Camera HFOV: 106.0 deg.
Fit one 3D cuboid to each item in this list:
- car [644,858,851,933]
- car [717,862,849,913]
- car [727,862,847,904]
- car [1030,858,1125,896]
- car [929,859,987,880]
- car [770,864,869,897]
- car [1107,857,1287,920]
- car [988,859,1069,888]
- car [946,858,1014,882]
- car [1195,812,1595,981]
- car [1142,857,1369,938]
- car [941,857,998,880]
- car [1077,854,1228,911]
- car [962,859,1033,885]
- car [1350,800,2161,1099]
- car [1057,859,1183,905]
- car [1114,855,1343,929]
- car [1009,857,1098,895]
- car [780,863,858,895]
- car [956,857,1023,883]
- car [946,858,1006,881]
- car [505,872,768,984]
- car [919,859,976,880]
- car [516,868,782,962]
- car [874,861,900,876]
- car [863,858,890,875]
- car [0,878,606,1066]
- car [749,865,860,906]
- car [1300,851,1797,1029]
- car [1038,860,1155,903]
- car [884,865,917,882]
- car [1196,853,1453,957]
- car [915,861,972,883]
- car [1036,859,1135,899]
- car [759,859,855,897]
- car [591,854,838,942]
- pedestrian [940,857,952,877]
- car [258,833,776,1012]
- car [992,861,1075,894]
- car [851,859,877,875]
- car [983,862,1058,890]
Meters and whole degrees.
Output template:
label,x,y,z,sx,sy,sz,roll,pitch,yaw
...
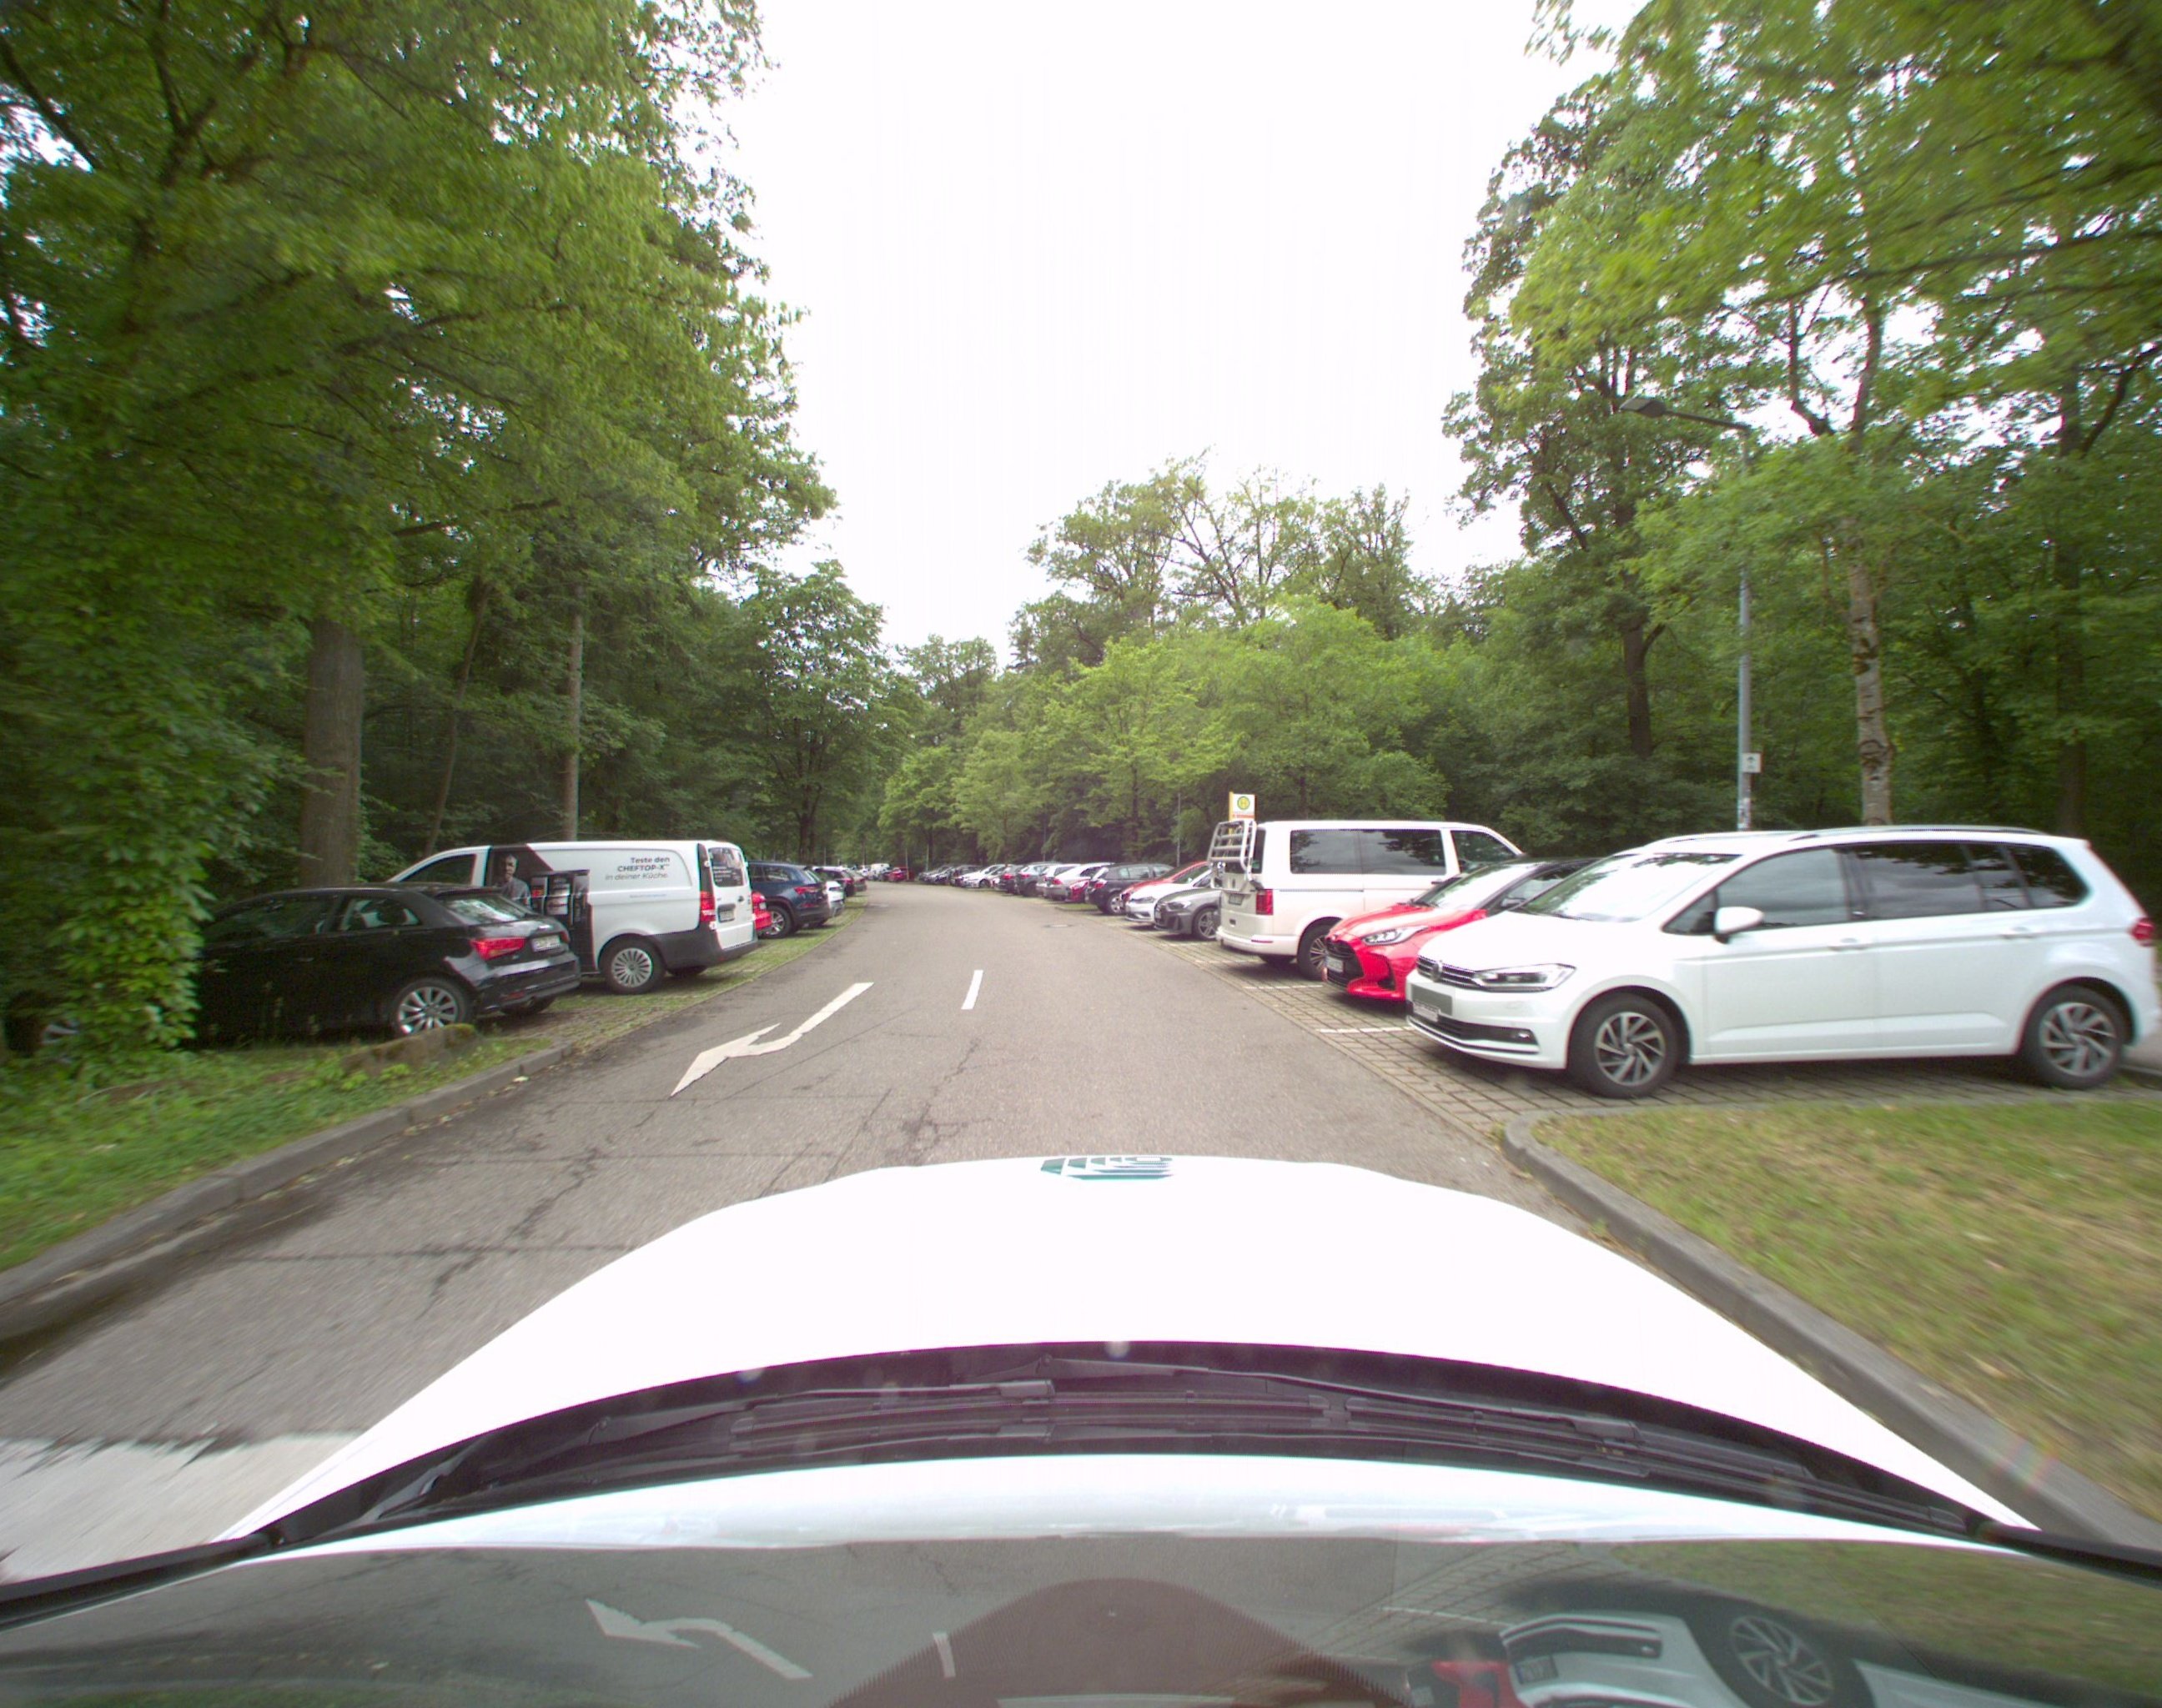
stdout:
label,x,y,z,sx,sy,sz,roll,pitch,yaw
car,-8.084,0.970,20.176,4.356,1.598,2.024,-1,0,-10
car,-9.994,1.095,27.589,3.994,1.491,1.699,-2,0,-15
car,-11.337,1.097,31.674,4.240,1.473,1.711,-1,-1,-15
car,-0.168,0.988,35.595,3.852,1.546,1.720,-1,0,-17
car,-9.390,1.173,62.018,4.002,1.475,1.938,-1,0,-22
car,-13.286,1.330,41.583,4.652,1.478,2.082,-2,0,-18
car,2.934,0.844,21.072,4.230,1.480,1.912,-1,-1,-11
car,-2.795,0.995,43.030,3.943,1.411,1.867,-1,0,-18
car,-6.809,1.079,54.913,4.205,1.512,1.879,-1,0,-23
car,4.091,0.526,11.082,4.644,2.021,2.078,1,1,-7
car,3.355,0.838,16.027,3.986,1.483,1.871,1,-1,-9
car,-8.164,1.027,59.599,3.843,1.531,1.837,-2,0,-22
car,2.009,0.772,23.499,3.988,1.483,1.915,-1,0,-11
car,-5.137,1.058,50.161,3.993,1.483,1.870,-1,0,-23
car,4.570,0.559,5.923,4.508,1.693,2.164,-1,-1,-2
car,1.326,0.943,28.503,3.994,1.450,1.931,-1,0,-15
car,3.246,0.806,18.396,4.768,1.476,1.848,-1,1,-8
car,-1.294,0.986,37.763,3.775,1.589,1.939,-1,0,-16
car,-14.898,1.392,46.507,3.962,1.628,1.991,-2,0,-11
car,-5.930,1.011,52.556,4.020,1.559,1.965,-1,0,-18
car,-7.435,1.076,57.495,3.841,1.457,1.796,-1,-1,-21
car,-6.985,1.125,13.081,3.220,1.466,1.653,-2,1,-5
car,-10.570,1.212,64.366,4.010,1.551,1.957,-1,0,-28
car,-7.912,1.072,15.303,3.988,1.445,1.816,-2,0,-11
car,-19.224,1.394,80.558,1.734,1.422,4.249,-1,0,-25
car,-21.429,1.308,85.359,1.754,1.780,4.511,-1,0,-27
car,-6.929,0.972,7.538,3.983,1.379,1.719,-1,0,-7
car,-11.537,1.284,34.319,4.239,1.530,1.997,-1,0,-14
car,4.493,0.778,8.325,3.985,1.555,1.946,1,1,-1
car,0.577,1.023,31.055,4.131,1.461,1.857,-1,-1,-13
car,-16.761,1.761,75.534,2.003,1.479,4.931,-1,0,-25
car,4.027,0.813,13.792,3.721,1.554,1.841,1,2,-9
car,-11.248,1.444,66.688,4.284,1.666,1.943,-1,0,-23
car,0.161,1.009,33.396,3.708,1.511,1.742,-1,-1,-15
car,-13.170,1.113,39.222,4.247,1.647,1.957,-2,0,-20
car,-7.744,0.889,17.687,4.423,1.694,2.165,-1,0,-9
pedestrian,-12.117,1.173,73.081,0.821,1.726,0.995,0,-1,-25
car,-6.848,0.769,10.471,5.079,1.915,1.974,-1,0,-6
car,-2.370,1.138,40.422,3.781,1.481,1.762,-1,0,-20
car,-24.207,1.461,90.852,1.796,1.662,4.674,-1,0,-28
car,-3.379,1.187,45.752,3.815,1.441,1.854,-1,0,-27
